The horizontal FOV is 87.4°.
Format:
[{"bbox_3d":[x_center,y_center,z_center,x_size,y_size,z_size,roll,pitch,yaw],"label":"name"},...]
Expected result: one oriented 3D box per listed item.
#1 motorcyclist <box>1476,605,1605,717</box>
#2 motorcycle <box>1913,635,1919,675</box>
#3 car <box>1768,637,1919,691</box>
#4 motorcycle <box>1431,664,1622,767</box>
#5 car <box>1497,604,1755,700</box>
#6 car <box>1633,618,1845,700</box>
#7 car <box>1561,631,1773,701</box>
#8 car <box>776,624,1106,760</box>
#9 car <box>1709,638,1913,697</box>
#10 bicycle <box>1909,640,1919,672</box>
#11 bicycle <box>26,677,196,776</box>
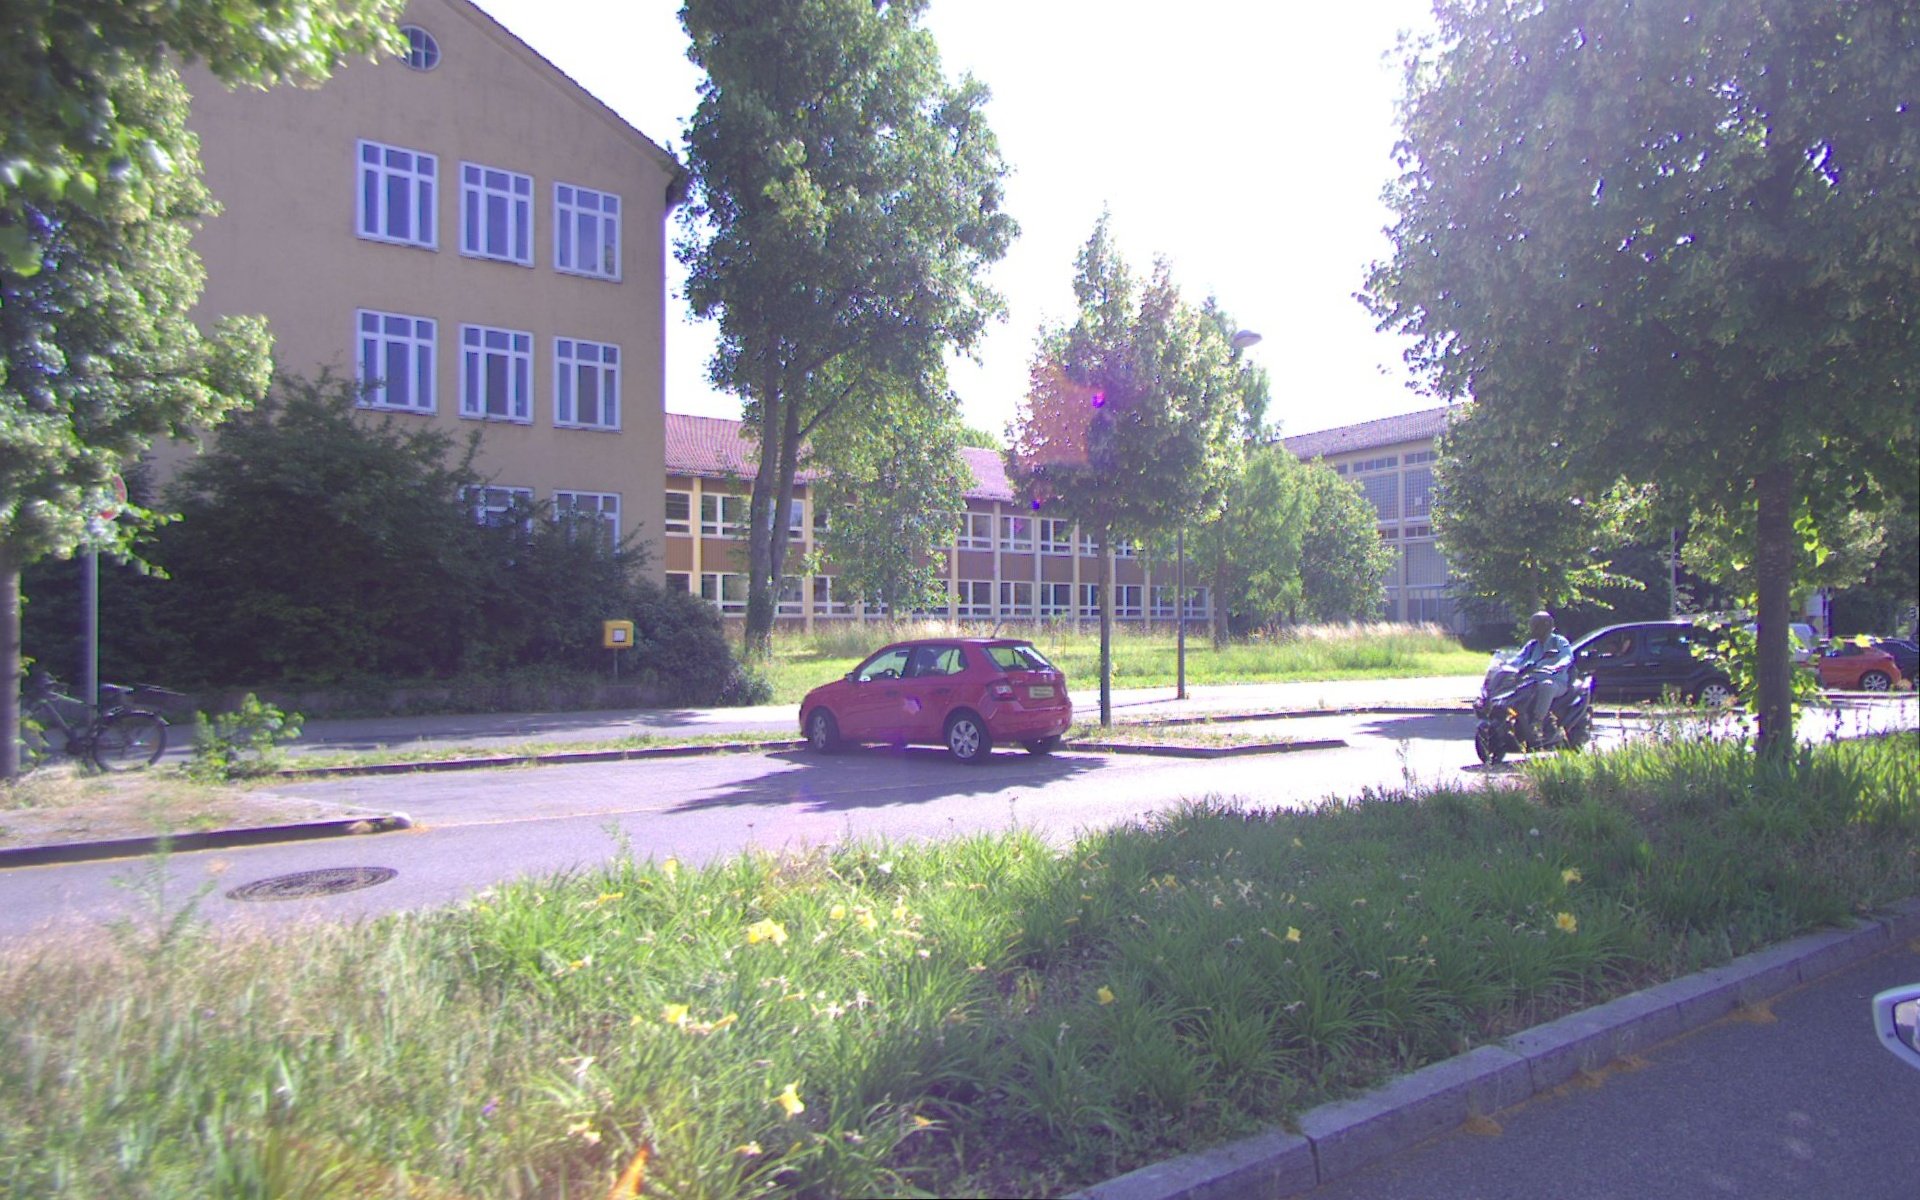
[{"bbox_3d":[6.779,0.690,11.742,1.049,1.237,0.897,1,-2,-30],"label":"motorcyclist"},{"bbox_3d":[31.854,1.780,32.177,0.686,1.301,1.832,1,-2,-36],"label":"motorcycle"},{"bbox_3d":[25.222,1.779,28.017,3.700,1.442,1.856,-2,-3,20],"label":"car"},{"bbox_3d":[6.541,1.284,11.580,2.208,1.006,0.919,1,-2,-30],"label":"motorcycle"},{"bbox_3d":[13.660,1.078,20.935,4.108,1.840,2.004,-2,-2,22],"label":"car"},{"bbox_3d":[18.375,1.361,23.930,3.706,1.795,1.816,-1,-2,29],"label":"car"},{"bbox_3d":[15.870,1.468,22.816,3.706,1.446,1.853,-2,-2,29],"label":"car"},{"bbox_3d":[-0.328,1.121,13.084,3.940,1.485,1.991,-3,-3,39],"label":"car"},{"bbox_3d":[22.437,1.746,26.683,3.770,1.442,1.715,-1,-2,24],"label":"car"},{"bbox_3d":[33.908,1.934,34.452,0.684,1.106,1.837,0,-2,-29],"label":"bicycle"},{"bbox_3d":[-8.627,1.262,10.264,1.258,0.915,0.517,2,-3,-36],"label":"bicycle"}]
